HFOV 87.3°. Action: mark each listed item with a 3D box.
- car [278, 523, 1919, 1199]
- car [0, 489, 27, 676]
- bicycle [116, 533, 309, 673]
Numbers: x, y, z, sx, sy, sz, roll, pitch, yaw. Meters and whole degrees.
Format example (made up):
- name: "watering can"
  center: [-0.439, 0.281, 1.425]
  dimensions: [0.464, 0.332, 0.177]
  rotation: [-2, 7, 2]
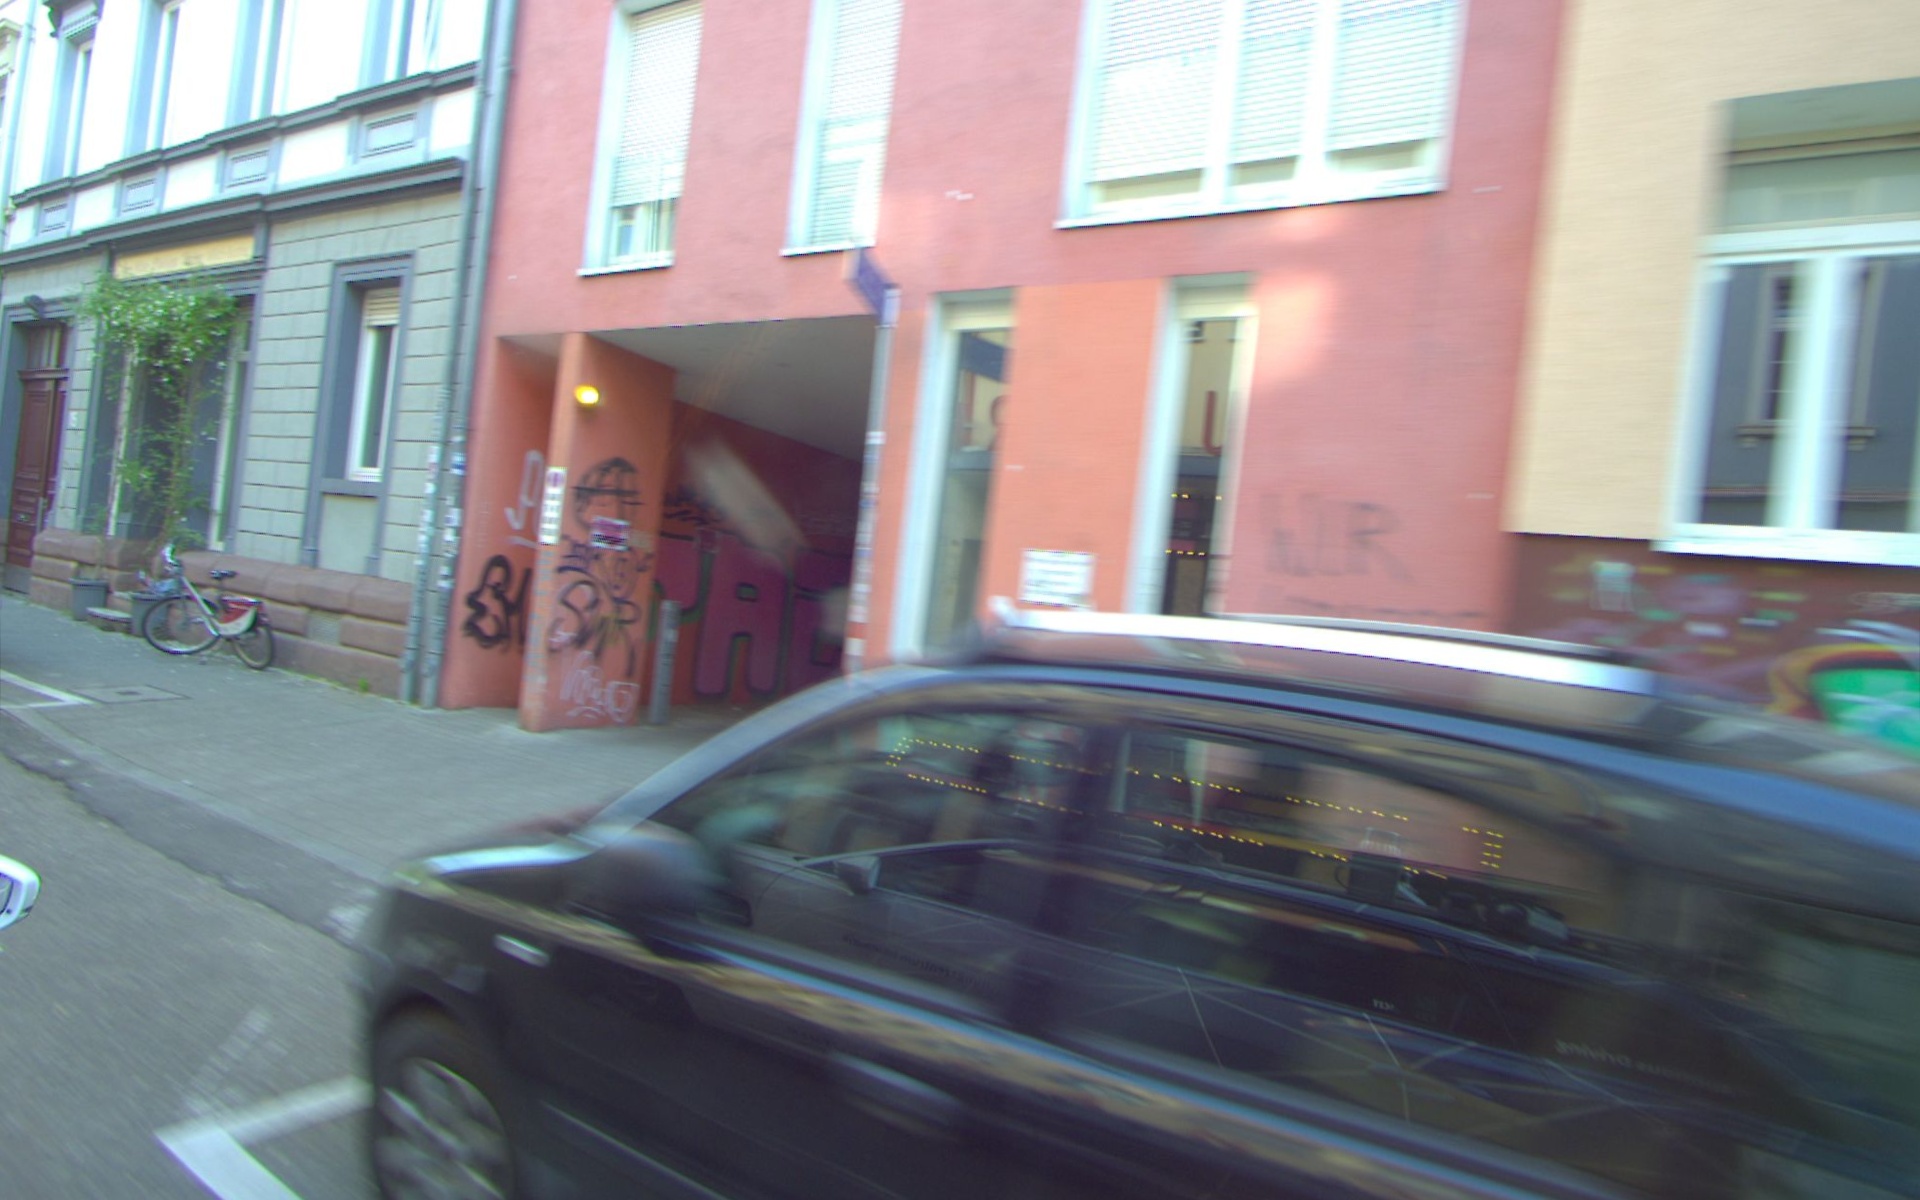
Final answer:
- name: "car"
  center: [0.292, 0.789, 2.151]
  dimensions: [3.393, 1.560, 1.602]
  rotation: [7, 2, 32]
- name: "car"
  center: [-9.871, -0.368, 8.413]
  dimensions: [4.470, 1.474, 1.787]
  rotation: [7, 3, 30]
- name: "bicycle"
  center: [-7.081, 0.006, 9.512]
  dimensions: [1.868, 1.112, 0.711]
  rotation: [6, 3, 28]
